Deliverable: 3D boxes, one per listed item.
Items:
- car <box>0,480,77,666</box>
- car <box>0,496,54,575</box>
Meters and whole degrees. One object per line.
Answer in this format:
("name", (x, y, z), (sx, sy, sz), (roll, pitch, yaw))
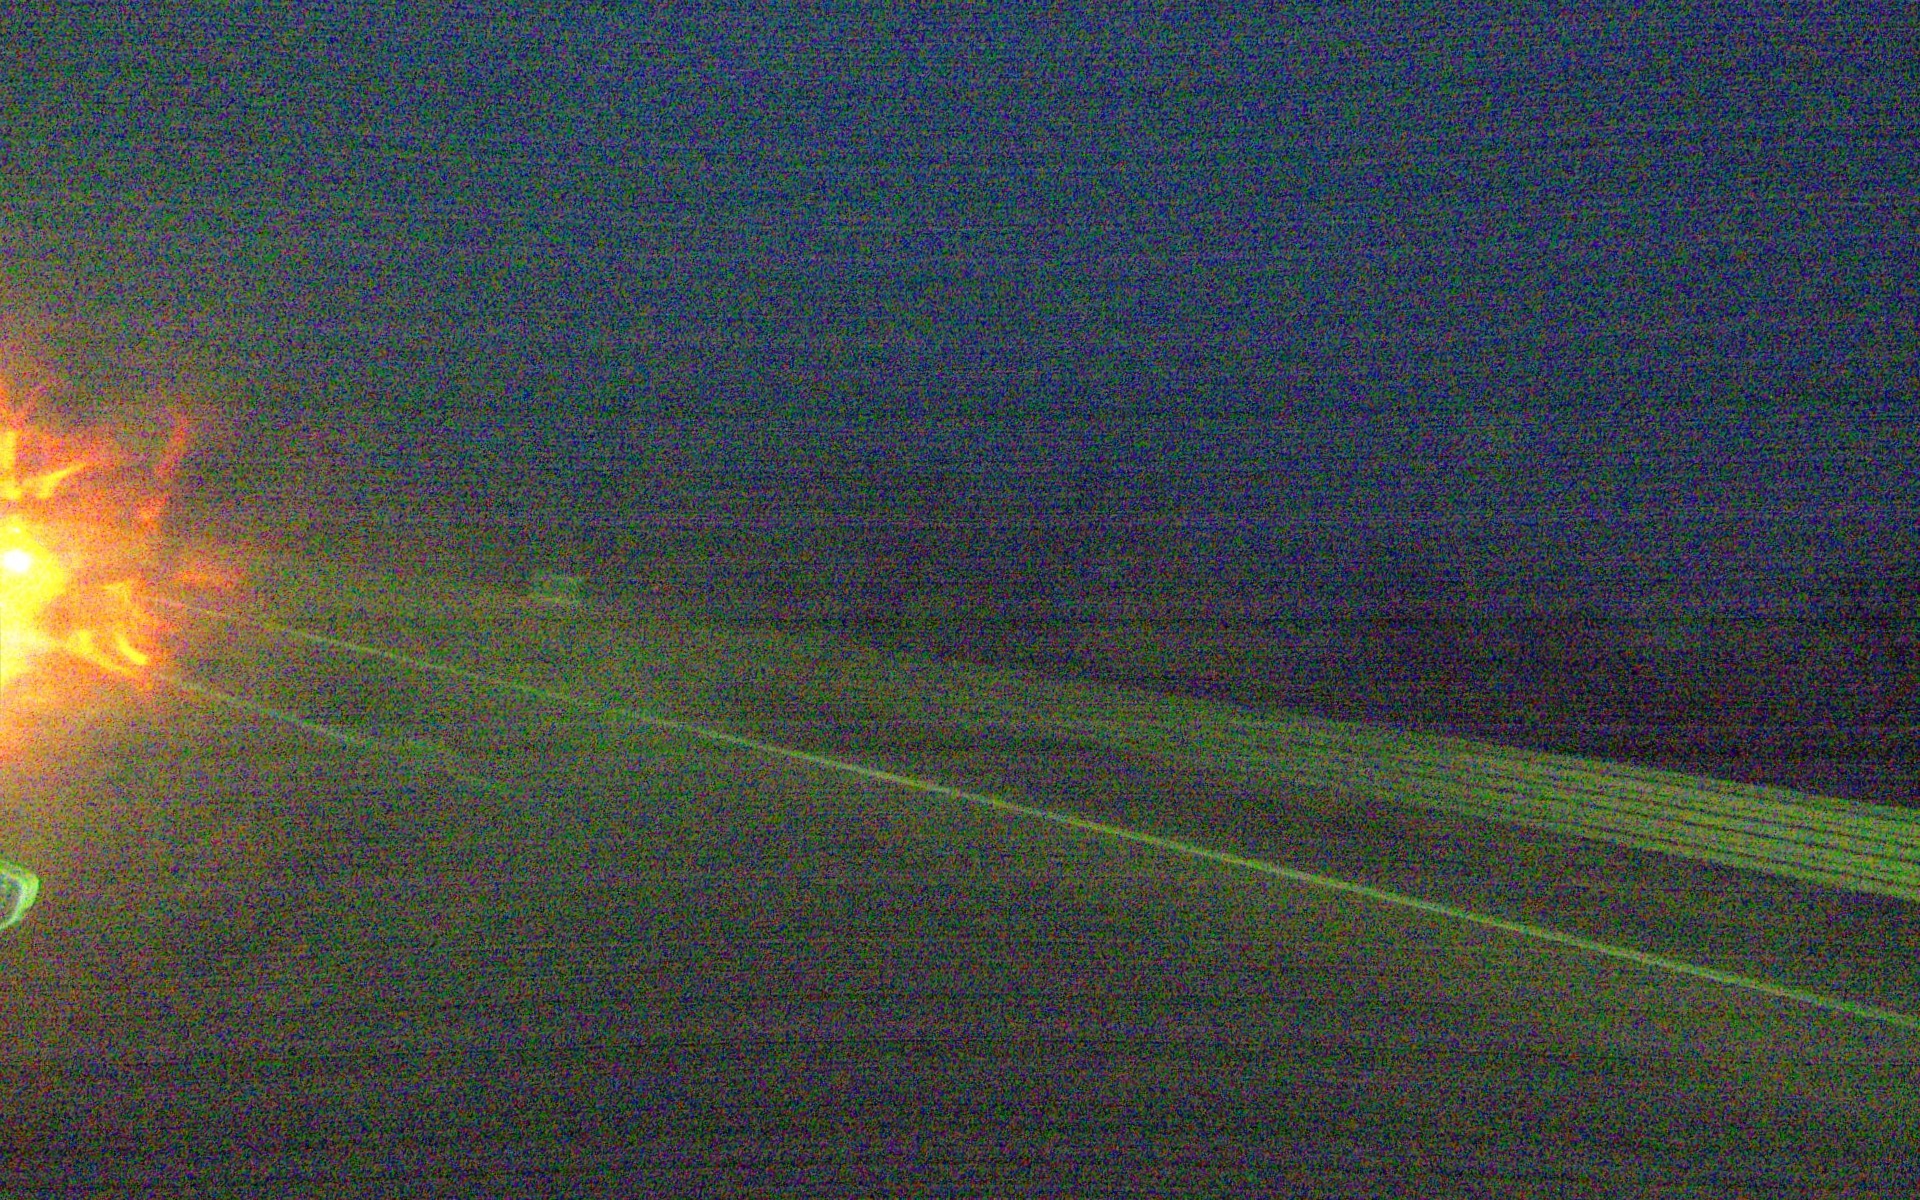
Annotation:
("car", (-10.372, -0.442, 9.508), (4.420, 1.594, 1.743), (5, -1, 32))
("car", (-20.952, -1.520, 21.137), (3.945, 1.521, 1.642), (6, 0, 30))
